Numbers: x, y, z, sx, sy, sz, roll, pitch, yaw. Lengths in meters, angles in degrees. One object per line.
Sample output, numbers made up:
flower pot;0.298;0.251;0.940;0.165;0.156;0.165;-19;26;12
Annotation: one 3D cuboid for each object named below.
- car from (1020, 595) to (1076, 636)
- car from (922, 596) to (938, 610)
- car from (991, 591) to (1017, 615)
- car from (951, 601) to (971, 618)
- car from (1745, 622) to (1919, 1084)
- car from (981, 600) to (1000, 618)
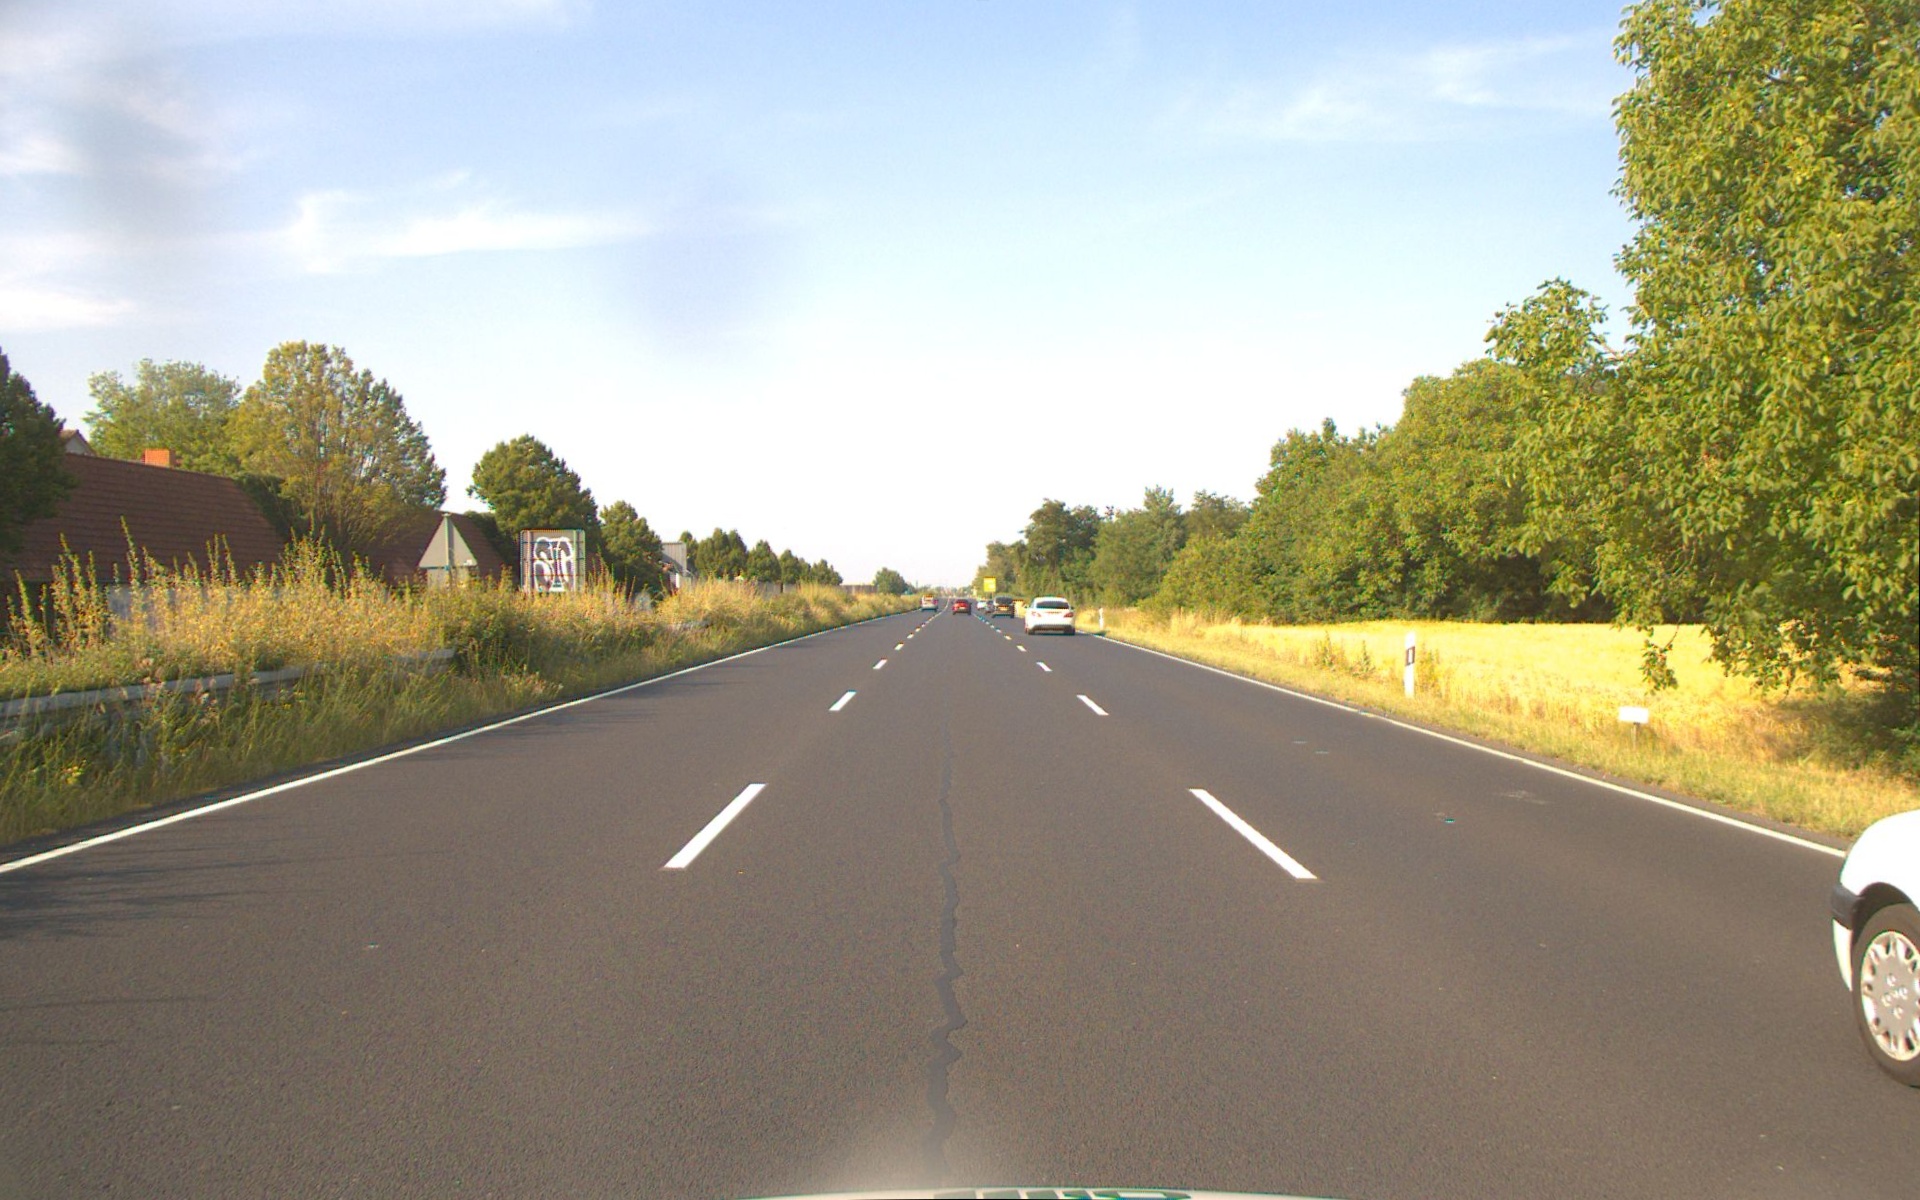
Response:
car;3.428;0.609;65.083;1.953;1.543;3.999;1;-1;0
car;-3.573;0.396;198.589;1.722;1.646;4.000;1;-1;1
car;3.368;0.266;127.323;1.790;1.758;3.999;1;-1;-1
car;0.097;0.895;155.307;1.775;1.461;3.857;1;-1;-1
car;3.753;0.779;4.209;1.584;1.411;3.950;1;-1;-1
car;3.081;0.954;166.967;1.796;1.747;3.862;1;-1;0
